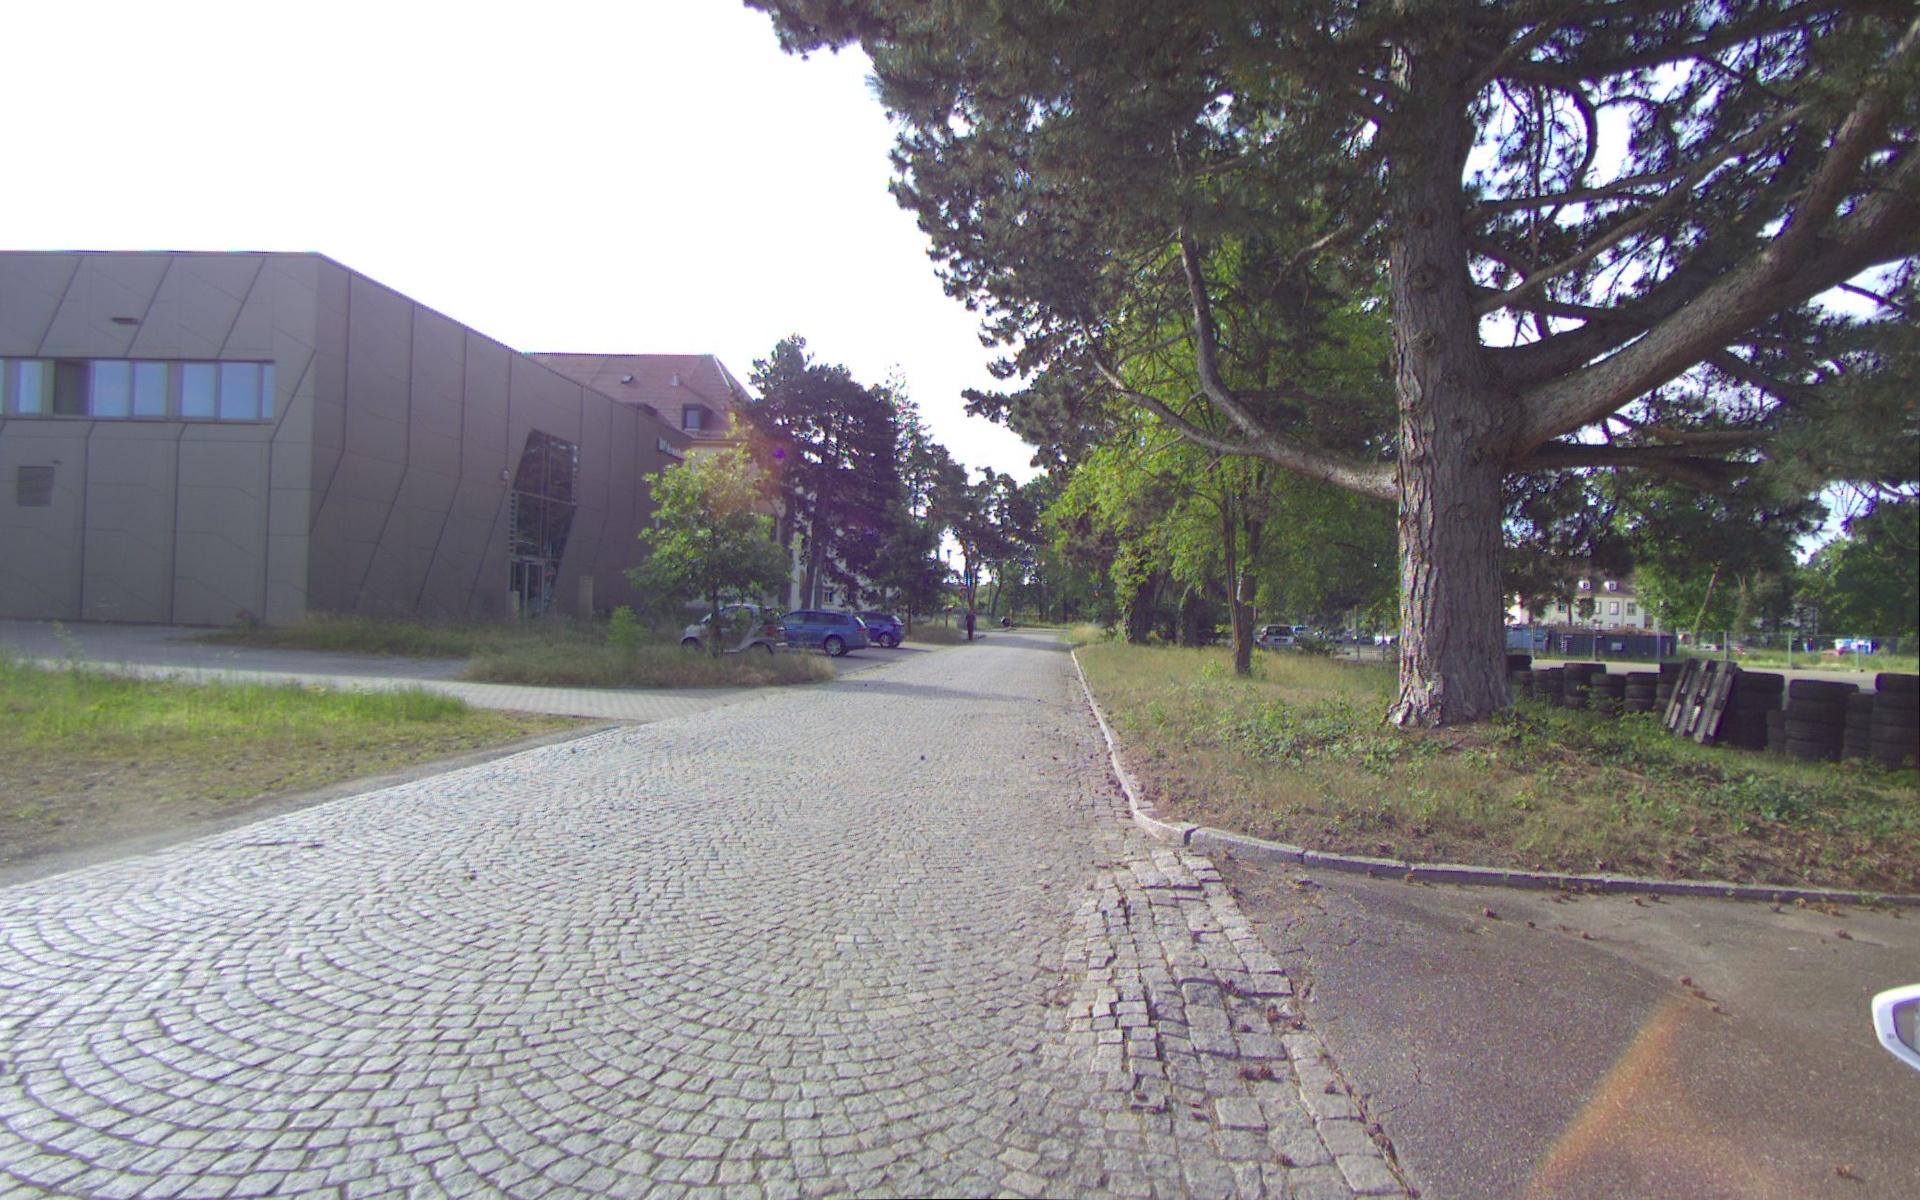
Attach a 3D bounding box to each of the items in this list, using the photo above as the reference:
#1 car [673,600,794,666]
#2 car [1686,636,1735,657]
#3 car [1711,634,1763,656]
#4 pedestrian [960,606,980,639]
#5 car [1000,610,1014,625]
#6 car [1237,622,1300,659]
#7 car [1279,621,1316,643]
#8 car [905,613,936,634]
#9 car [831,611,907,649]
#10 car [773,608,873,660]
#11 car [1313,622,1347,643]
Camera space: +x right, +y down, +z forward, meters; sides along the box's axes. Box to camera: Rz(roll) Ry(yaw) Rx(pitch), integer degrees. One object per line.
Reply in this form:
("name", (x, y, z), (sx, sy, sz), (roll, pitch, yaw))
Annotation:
("car", (-5.934, 0.853, 26.407), (2.713, 1.570, 1.426), (2, -1, 10))
("car", (67.447, 4.151, 90.368), (1.959, 1.773, 4.003), (2, -1, 11))
("car", (69.980, 4.060, 90.518), (1.959, 1.773, 4.003), (2, -1, 8))
("pedestrian", (0.549, 1.285, 57.490), (0.941, 1.868, 0.954), (2, 0, -8))
("car", (6.955, 2.569, 148.705), (1.669, 2.040, 4.002), (2, -1, 6))
("car", (14.151, 1.826, 46.263), (1.854, 1.561, 4.002), (2, -1, 4))
("car", (27.702, 2.612, 82.563), (1.960, 1.639, 4.002), (2, -1, 6))
("car", (-3.197, 1.901, 82.198), (1.960, 1.639, 4.002), (2, -1, 6))
("car", (-3.866, 1.279, 42.992), (3.033, 1.469, 1.492), (2, -1, 0))
("car", (-4.549, 1.109, 33.633), (3.033, 1.476, 1.492), (4, -1, 1))
("car", (30.366, 2.642, 82.554), (1.790, 1.639, 4.003), (2, -1, 8))
